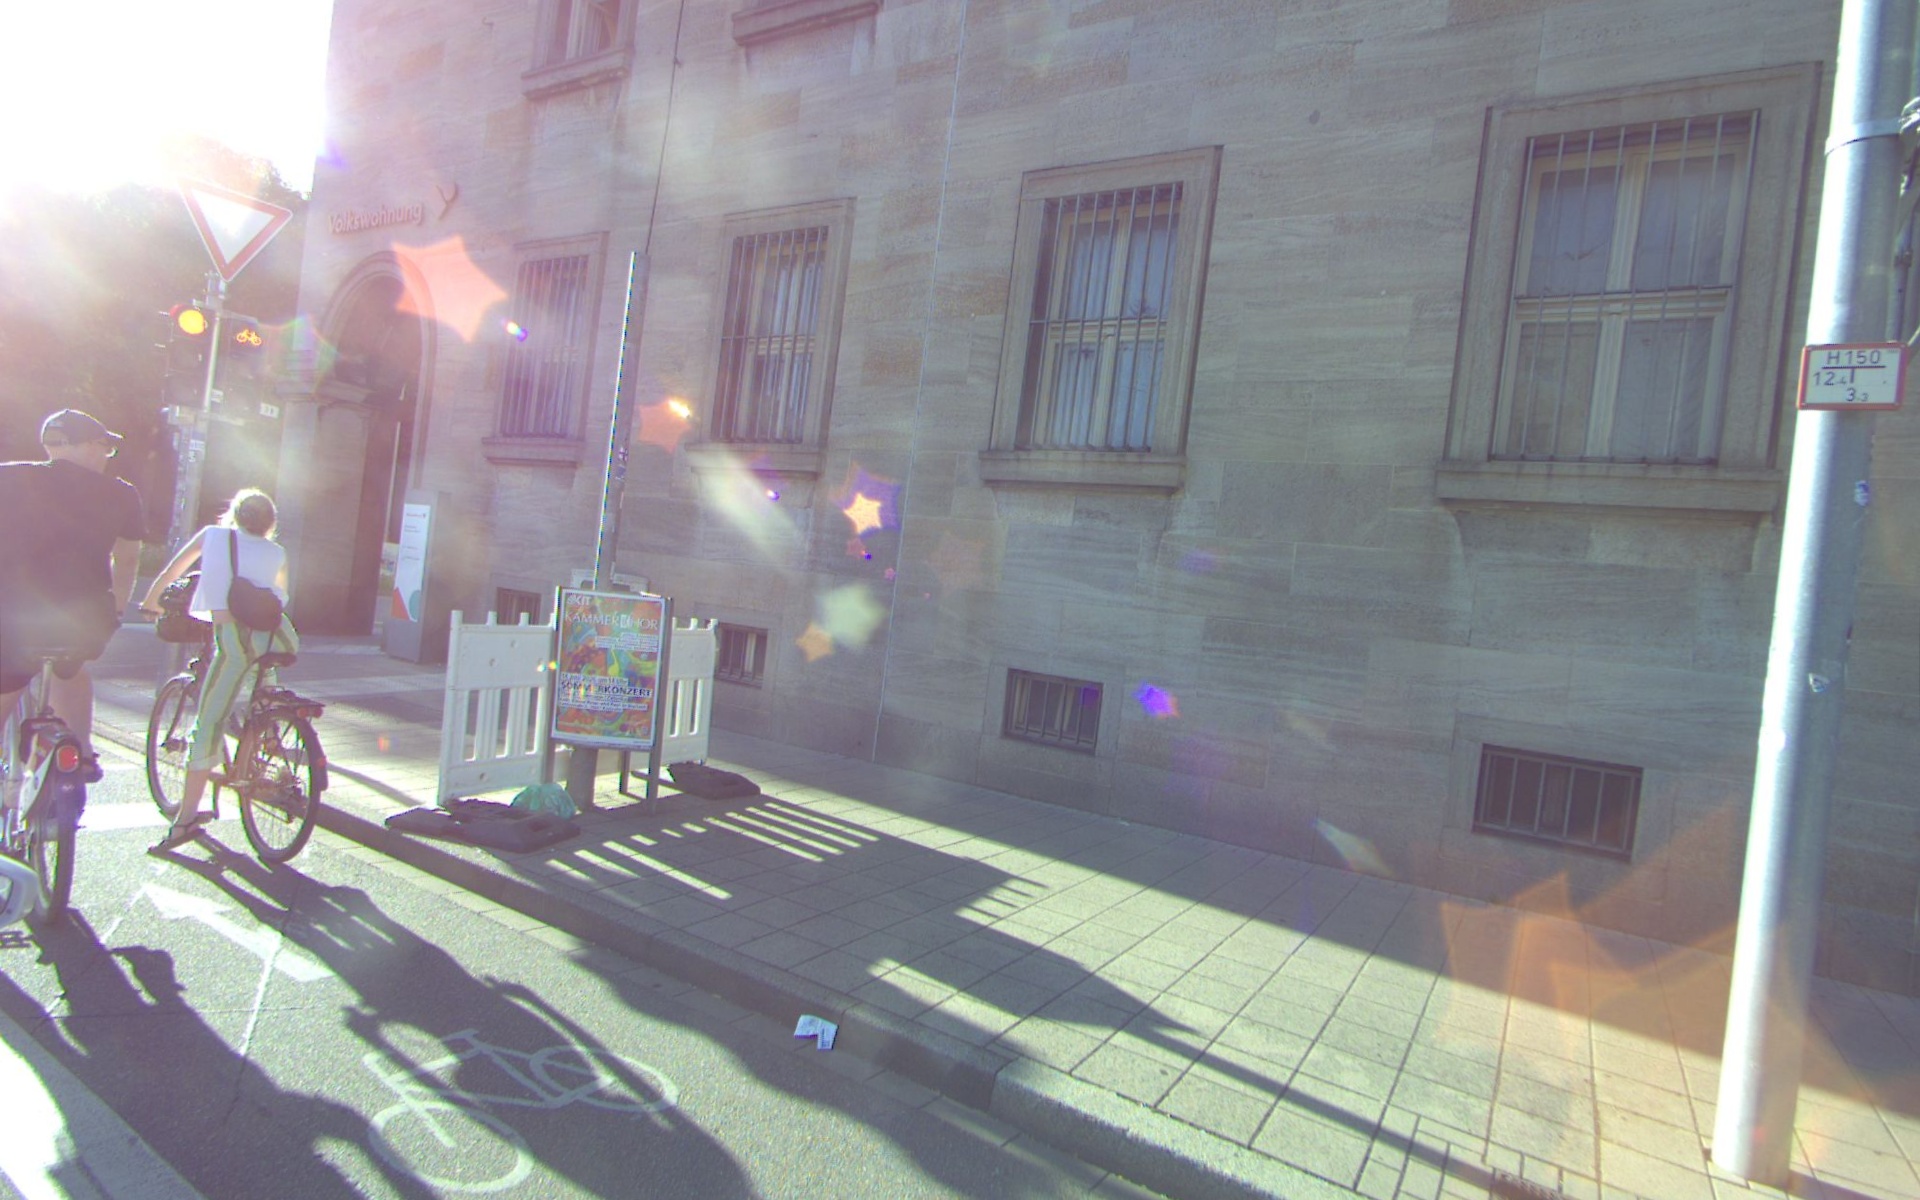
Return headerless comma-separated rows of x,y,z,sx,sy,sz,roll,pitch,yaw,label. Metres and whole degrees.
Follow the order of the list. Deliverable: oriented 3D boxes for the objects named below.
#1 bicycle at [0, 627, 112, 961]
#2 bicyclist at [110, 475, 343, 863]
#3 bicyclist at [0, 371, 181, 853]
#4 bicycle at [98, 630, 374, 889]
-3.829,0.656,3.956,1.923,0.916,0.388,7,0,41,bicycle
-3.561,0.296,4.879,0.845,1.700,0.522,7,1,35,bicyclist
-3.555,0.037,3.838,0.647,1.698,0.669,7,1,40,bicyclist
-3.635,0.710,4.981,1.920,0.887,0.427,7,0,35,bicycle
